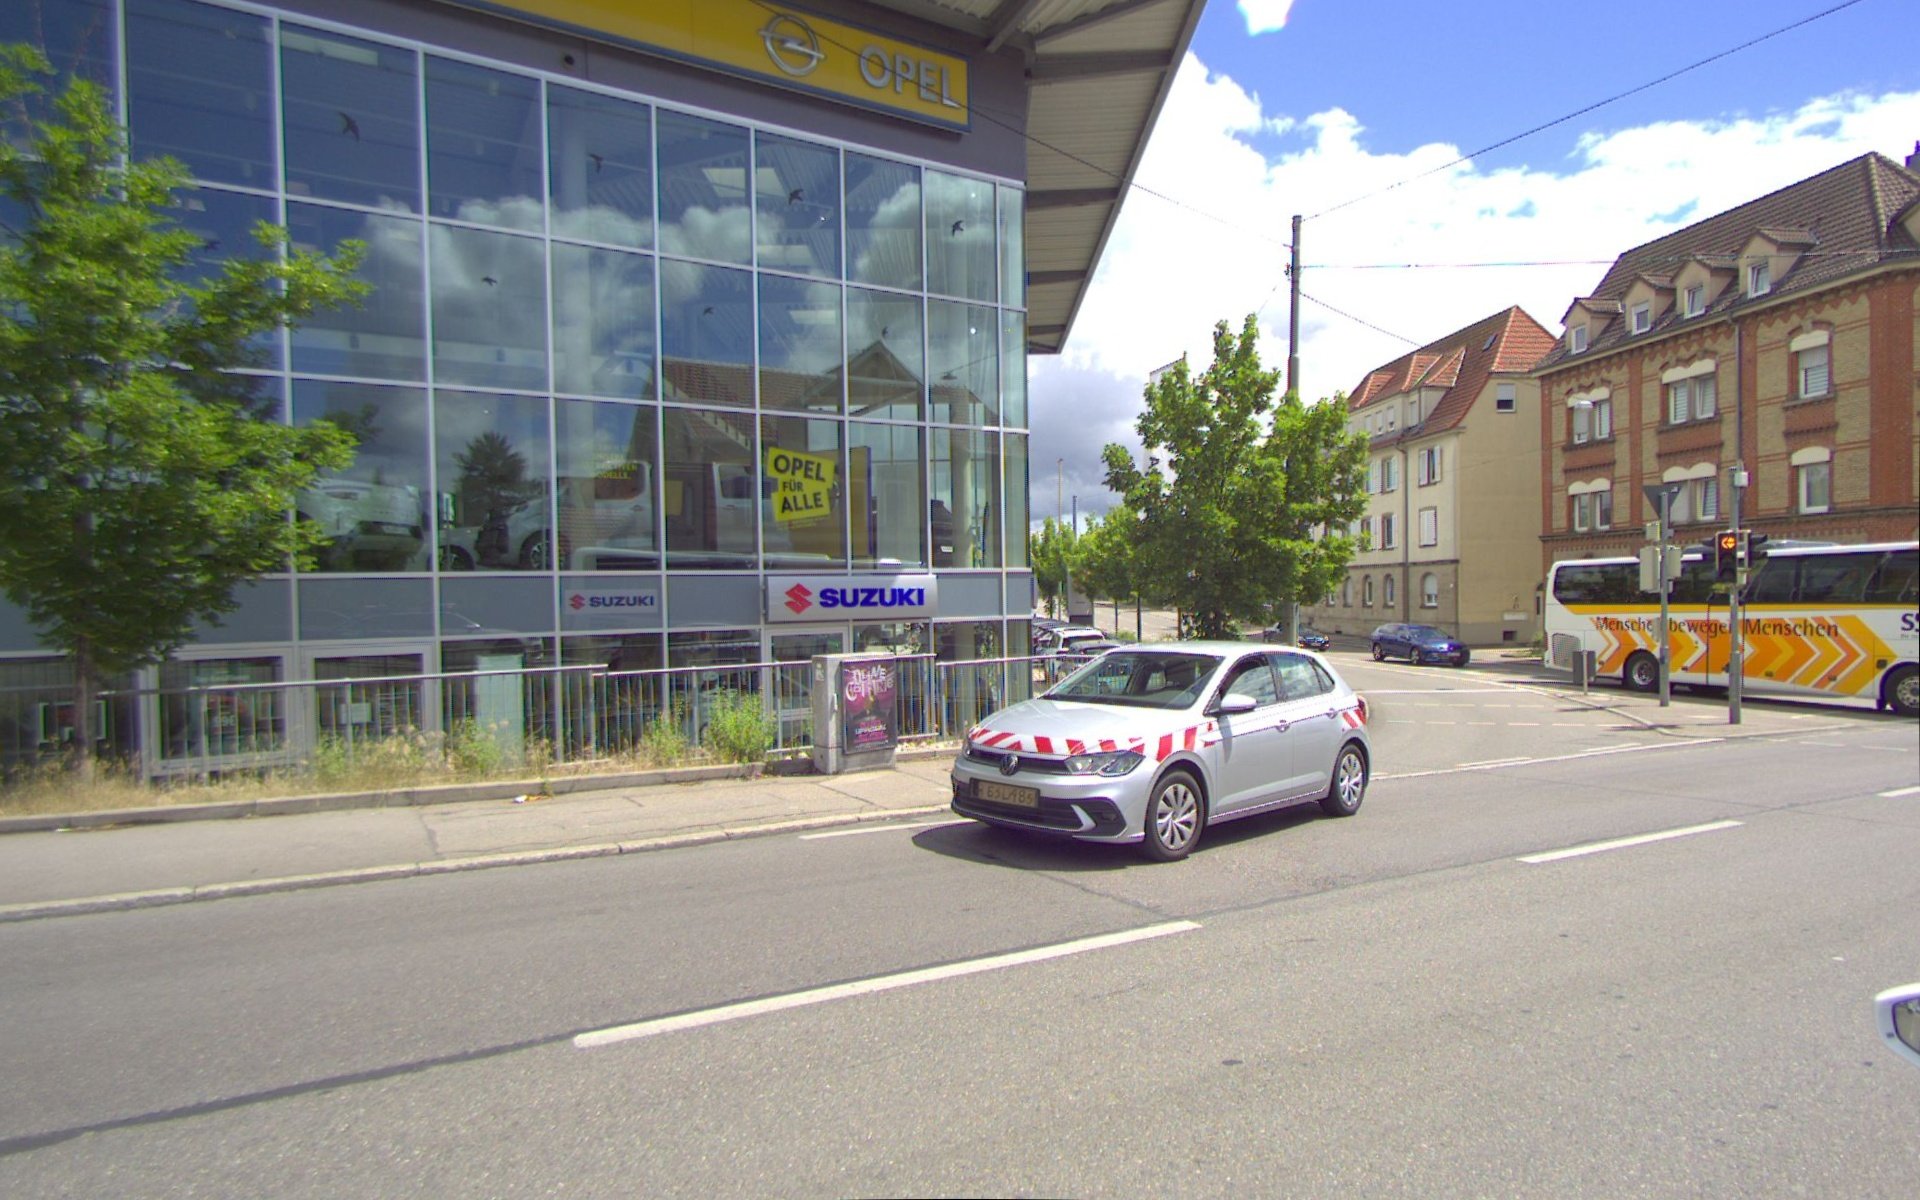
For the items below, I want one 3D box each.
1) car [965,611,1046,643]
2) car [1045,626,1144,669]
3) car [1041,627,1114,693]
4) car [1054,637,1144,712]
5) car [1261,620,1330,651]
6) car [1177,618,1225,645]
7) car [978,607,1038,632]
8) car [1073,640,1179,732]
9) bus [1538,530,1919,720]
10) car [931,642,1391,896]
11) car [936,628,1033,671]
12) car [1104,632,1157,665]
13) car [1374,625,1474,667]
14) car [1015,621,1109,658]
[{"bbox_3d":[2.368,1.413,52.797,3.930,1.574,1.804,1,-1,-12],"label":"car"},{"bbox_3d":[4.956,1.760,37.359,3.430,1.497,1.800,1,-1,1],"label":"car"},{"bbox_3d":[3.352,1.687,29.217,1.620,1.703,3.499,-1,0,-2],"label":"car"},{"bbox_3d":[3.320,1.751,24.532,1.584,1.547,3.499,-1,0,-2],"label":"car"},{"bbox_3d":[16.305,1.708,49.027,1.874,1.428,3.999,1,-1,-2],"label":"car"},{"bbox_3d":[14.851,1.935,62.124,1.874,1.574,3.999,1,-1,-2],"label":"car"},{"bbox_3d":[3.220,1.328,67.538,3.922,1.574,1.807,1,-1,-1],"label":"car"},{"bbox_3d":[3.316,1.686,20.566,1.648,1.582,3.365,-1,0,1],"label":"car"},{"bbox_3d":[19.183,0.497,23.143,2.723,3.670,12.237,1,0,-12],"label":"bus"},{"bbox_3d":[1.693,1.059,7.718,1.858,1.436,3.600,-3,-4,43],"label":"car"},{"bbox_3d":[0.878,1.792,36.936,3.432,1.467,1.799,-1,0,-3],"label":"car"},{"bbox_3d":[8.276,2.342,49.013,1.766,1.467,3.498,1,-1,-5],"label":"car"},{"bbox_3d":[17.205,1.674,37.467,1.717,1.428,3.999,1,-1,-3],"label":"car"},{"bbox_3d":[4.552,1.745,45.112,3.925,1.574,1.806,1,-1,-7],"label":"car"}]
